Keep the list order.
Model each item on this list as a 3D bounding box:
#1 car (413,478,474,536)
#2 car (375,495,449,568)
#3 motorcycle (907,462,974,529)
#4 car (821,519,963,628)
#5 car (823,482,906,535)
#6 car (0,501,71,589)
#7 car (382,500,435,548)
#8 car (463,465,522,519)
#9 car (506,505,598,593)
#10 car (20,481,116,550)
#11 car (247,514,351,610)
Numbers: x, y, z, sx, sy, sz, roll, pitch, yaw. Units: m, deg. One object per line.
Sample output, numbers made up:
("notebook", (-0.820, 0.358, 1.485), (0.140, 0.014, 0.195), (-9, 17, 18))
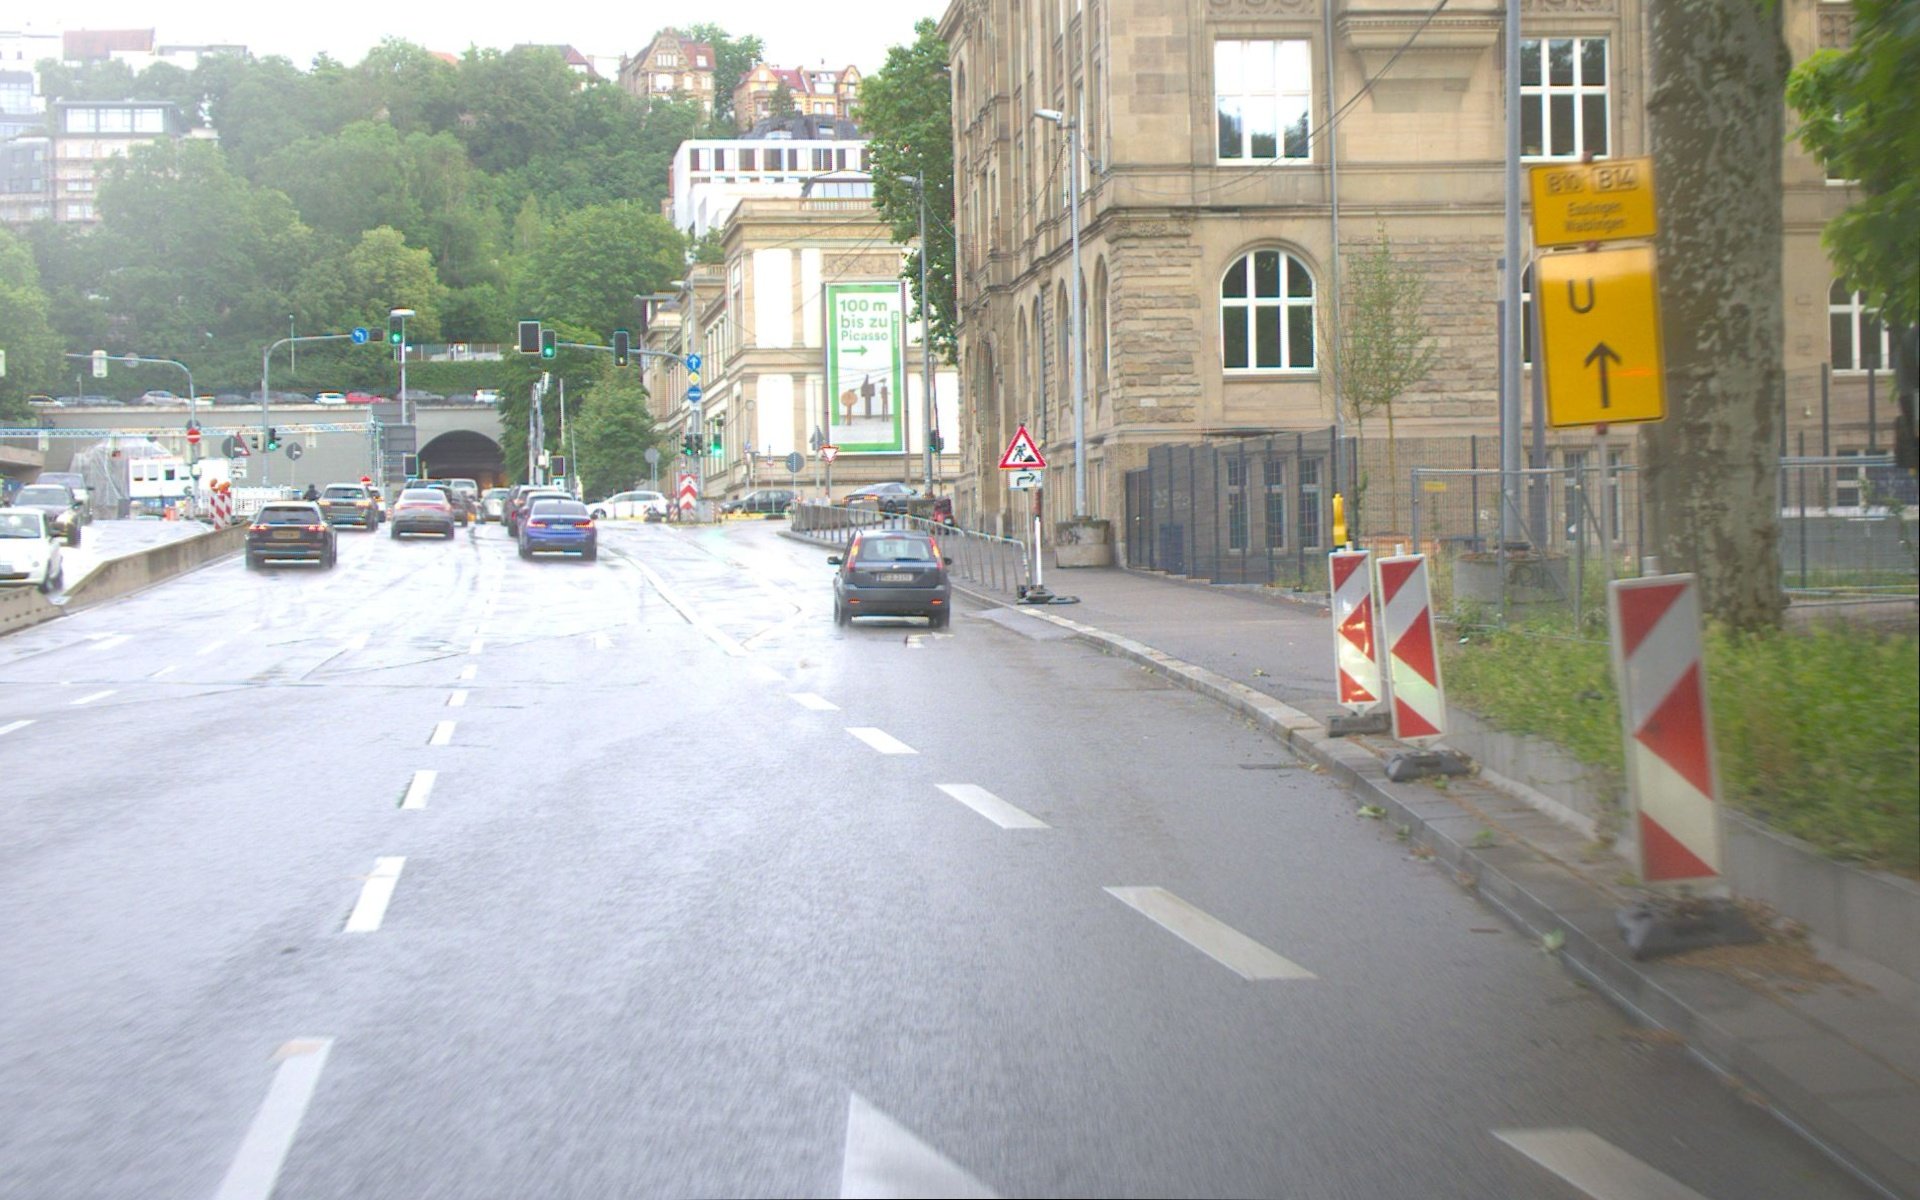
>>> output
("car", (-17.976, -3.209, 119.528), (1.993, 1.863, 4.001), (-2, 0, -10))
("car", (-16.136, -1.997, 101.196), (2.051, 2.007, 4.001), (-2, 0, -9))
("motorcycle", (-0.633, -3.272, 107.200), (1.795, 2.006, 3.814), (-1, 2, -4))
("car", (-1.061, -0.394, 51.881), (1.812, 1.521, 4.001), (-2, 0, -5))
("car", (-3.653, -3.504, 132.189), (1.995, 2.007, 3.997), (0, 1, 17))
("car", (-17.142, -0.966, 61.931), (1.709, 1.484, 3.451), (-2, 0, -7))
("car", (-25.152, -3.434, 156.693), (2.292, 2.007, 4.605), (-2, 0, -10))
("car", (-18.430, -4.235, 135.333), (1.993, 2.007, 4.001), (-2, 1, -11))
("car", (-10.103, -1.235, 84.909), (2.104, 2.043, 4.001), (-2, 0, -8))
("car", (-23.826, -2.243, 91.990), (2.038, 1.656, 4.934), (-2, 0, -10))
("car", (-14.648, -0.819, 76.361), (2.016, 2.007, 4.001), (-2, 0, -8))
